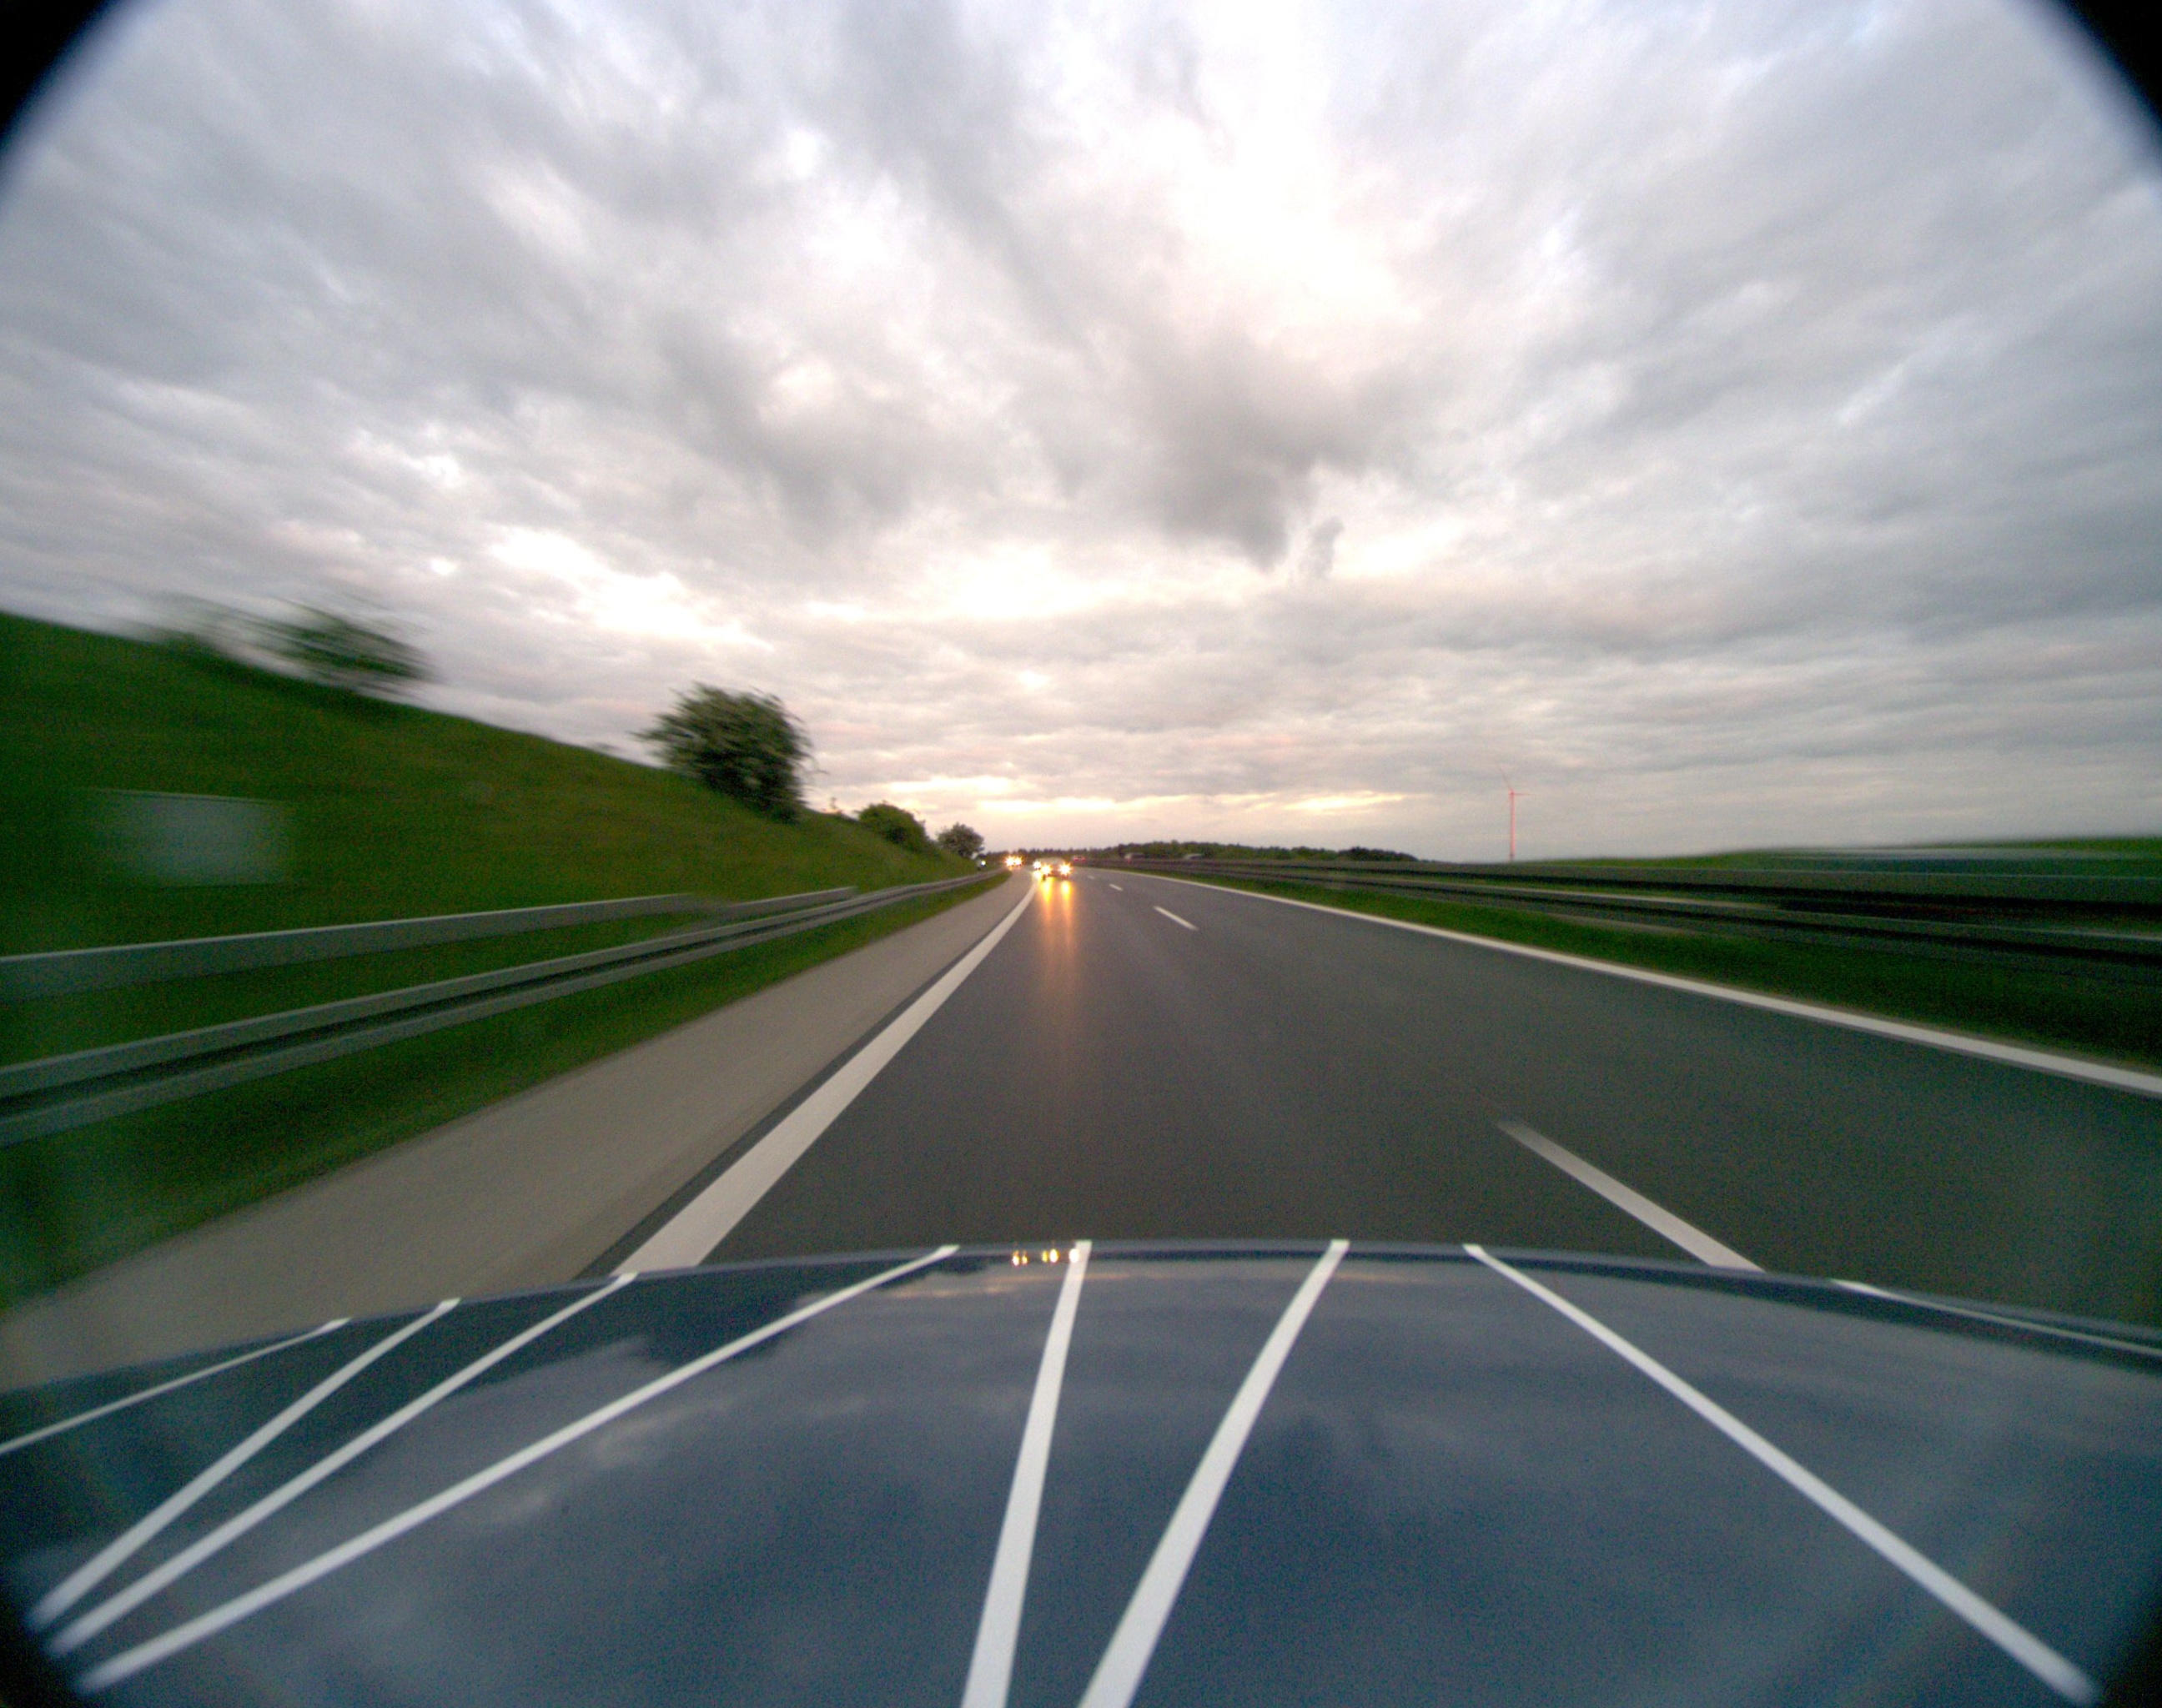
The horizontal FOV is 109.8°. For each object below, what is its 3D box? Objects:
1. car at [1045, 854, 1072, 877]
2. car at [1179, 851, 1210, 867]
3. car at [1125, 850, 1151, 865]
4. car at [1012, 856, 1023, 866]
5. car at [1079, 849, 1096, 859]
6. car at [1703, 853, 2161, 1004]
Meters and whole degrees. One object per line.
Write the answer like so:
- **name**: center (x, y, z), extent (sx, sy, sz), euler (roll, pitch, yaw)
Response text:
- **car**: center (-1.587, 0.754, 52.725), extent (1.682, 1.504, 3.999), euler (-1, 0, -3)
- **car**: center (12.109, 0.513, 81.193), extent (2.031, 1.650, 4.667), euler (-1, 0, -7)
- **car**: center (7.245, 0.474, 96.546), extent (2.109, 1.861, 5.127), euler (-1, 0, -9)
- **car**: center (-12.291, 1.401, 146.737), extent (1.920, 1.827, 3.998), euler (0, -1, -6)
- **car**: center (1.348, 0.004, 160.680), extent (2.289, 2.002, 5.252), euler (-2, 1, -12)
- **car**: center (11.999, 0.872, 11.211), extent (1.780, 1.705, 4.636), euler (-2, 0, -1)
